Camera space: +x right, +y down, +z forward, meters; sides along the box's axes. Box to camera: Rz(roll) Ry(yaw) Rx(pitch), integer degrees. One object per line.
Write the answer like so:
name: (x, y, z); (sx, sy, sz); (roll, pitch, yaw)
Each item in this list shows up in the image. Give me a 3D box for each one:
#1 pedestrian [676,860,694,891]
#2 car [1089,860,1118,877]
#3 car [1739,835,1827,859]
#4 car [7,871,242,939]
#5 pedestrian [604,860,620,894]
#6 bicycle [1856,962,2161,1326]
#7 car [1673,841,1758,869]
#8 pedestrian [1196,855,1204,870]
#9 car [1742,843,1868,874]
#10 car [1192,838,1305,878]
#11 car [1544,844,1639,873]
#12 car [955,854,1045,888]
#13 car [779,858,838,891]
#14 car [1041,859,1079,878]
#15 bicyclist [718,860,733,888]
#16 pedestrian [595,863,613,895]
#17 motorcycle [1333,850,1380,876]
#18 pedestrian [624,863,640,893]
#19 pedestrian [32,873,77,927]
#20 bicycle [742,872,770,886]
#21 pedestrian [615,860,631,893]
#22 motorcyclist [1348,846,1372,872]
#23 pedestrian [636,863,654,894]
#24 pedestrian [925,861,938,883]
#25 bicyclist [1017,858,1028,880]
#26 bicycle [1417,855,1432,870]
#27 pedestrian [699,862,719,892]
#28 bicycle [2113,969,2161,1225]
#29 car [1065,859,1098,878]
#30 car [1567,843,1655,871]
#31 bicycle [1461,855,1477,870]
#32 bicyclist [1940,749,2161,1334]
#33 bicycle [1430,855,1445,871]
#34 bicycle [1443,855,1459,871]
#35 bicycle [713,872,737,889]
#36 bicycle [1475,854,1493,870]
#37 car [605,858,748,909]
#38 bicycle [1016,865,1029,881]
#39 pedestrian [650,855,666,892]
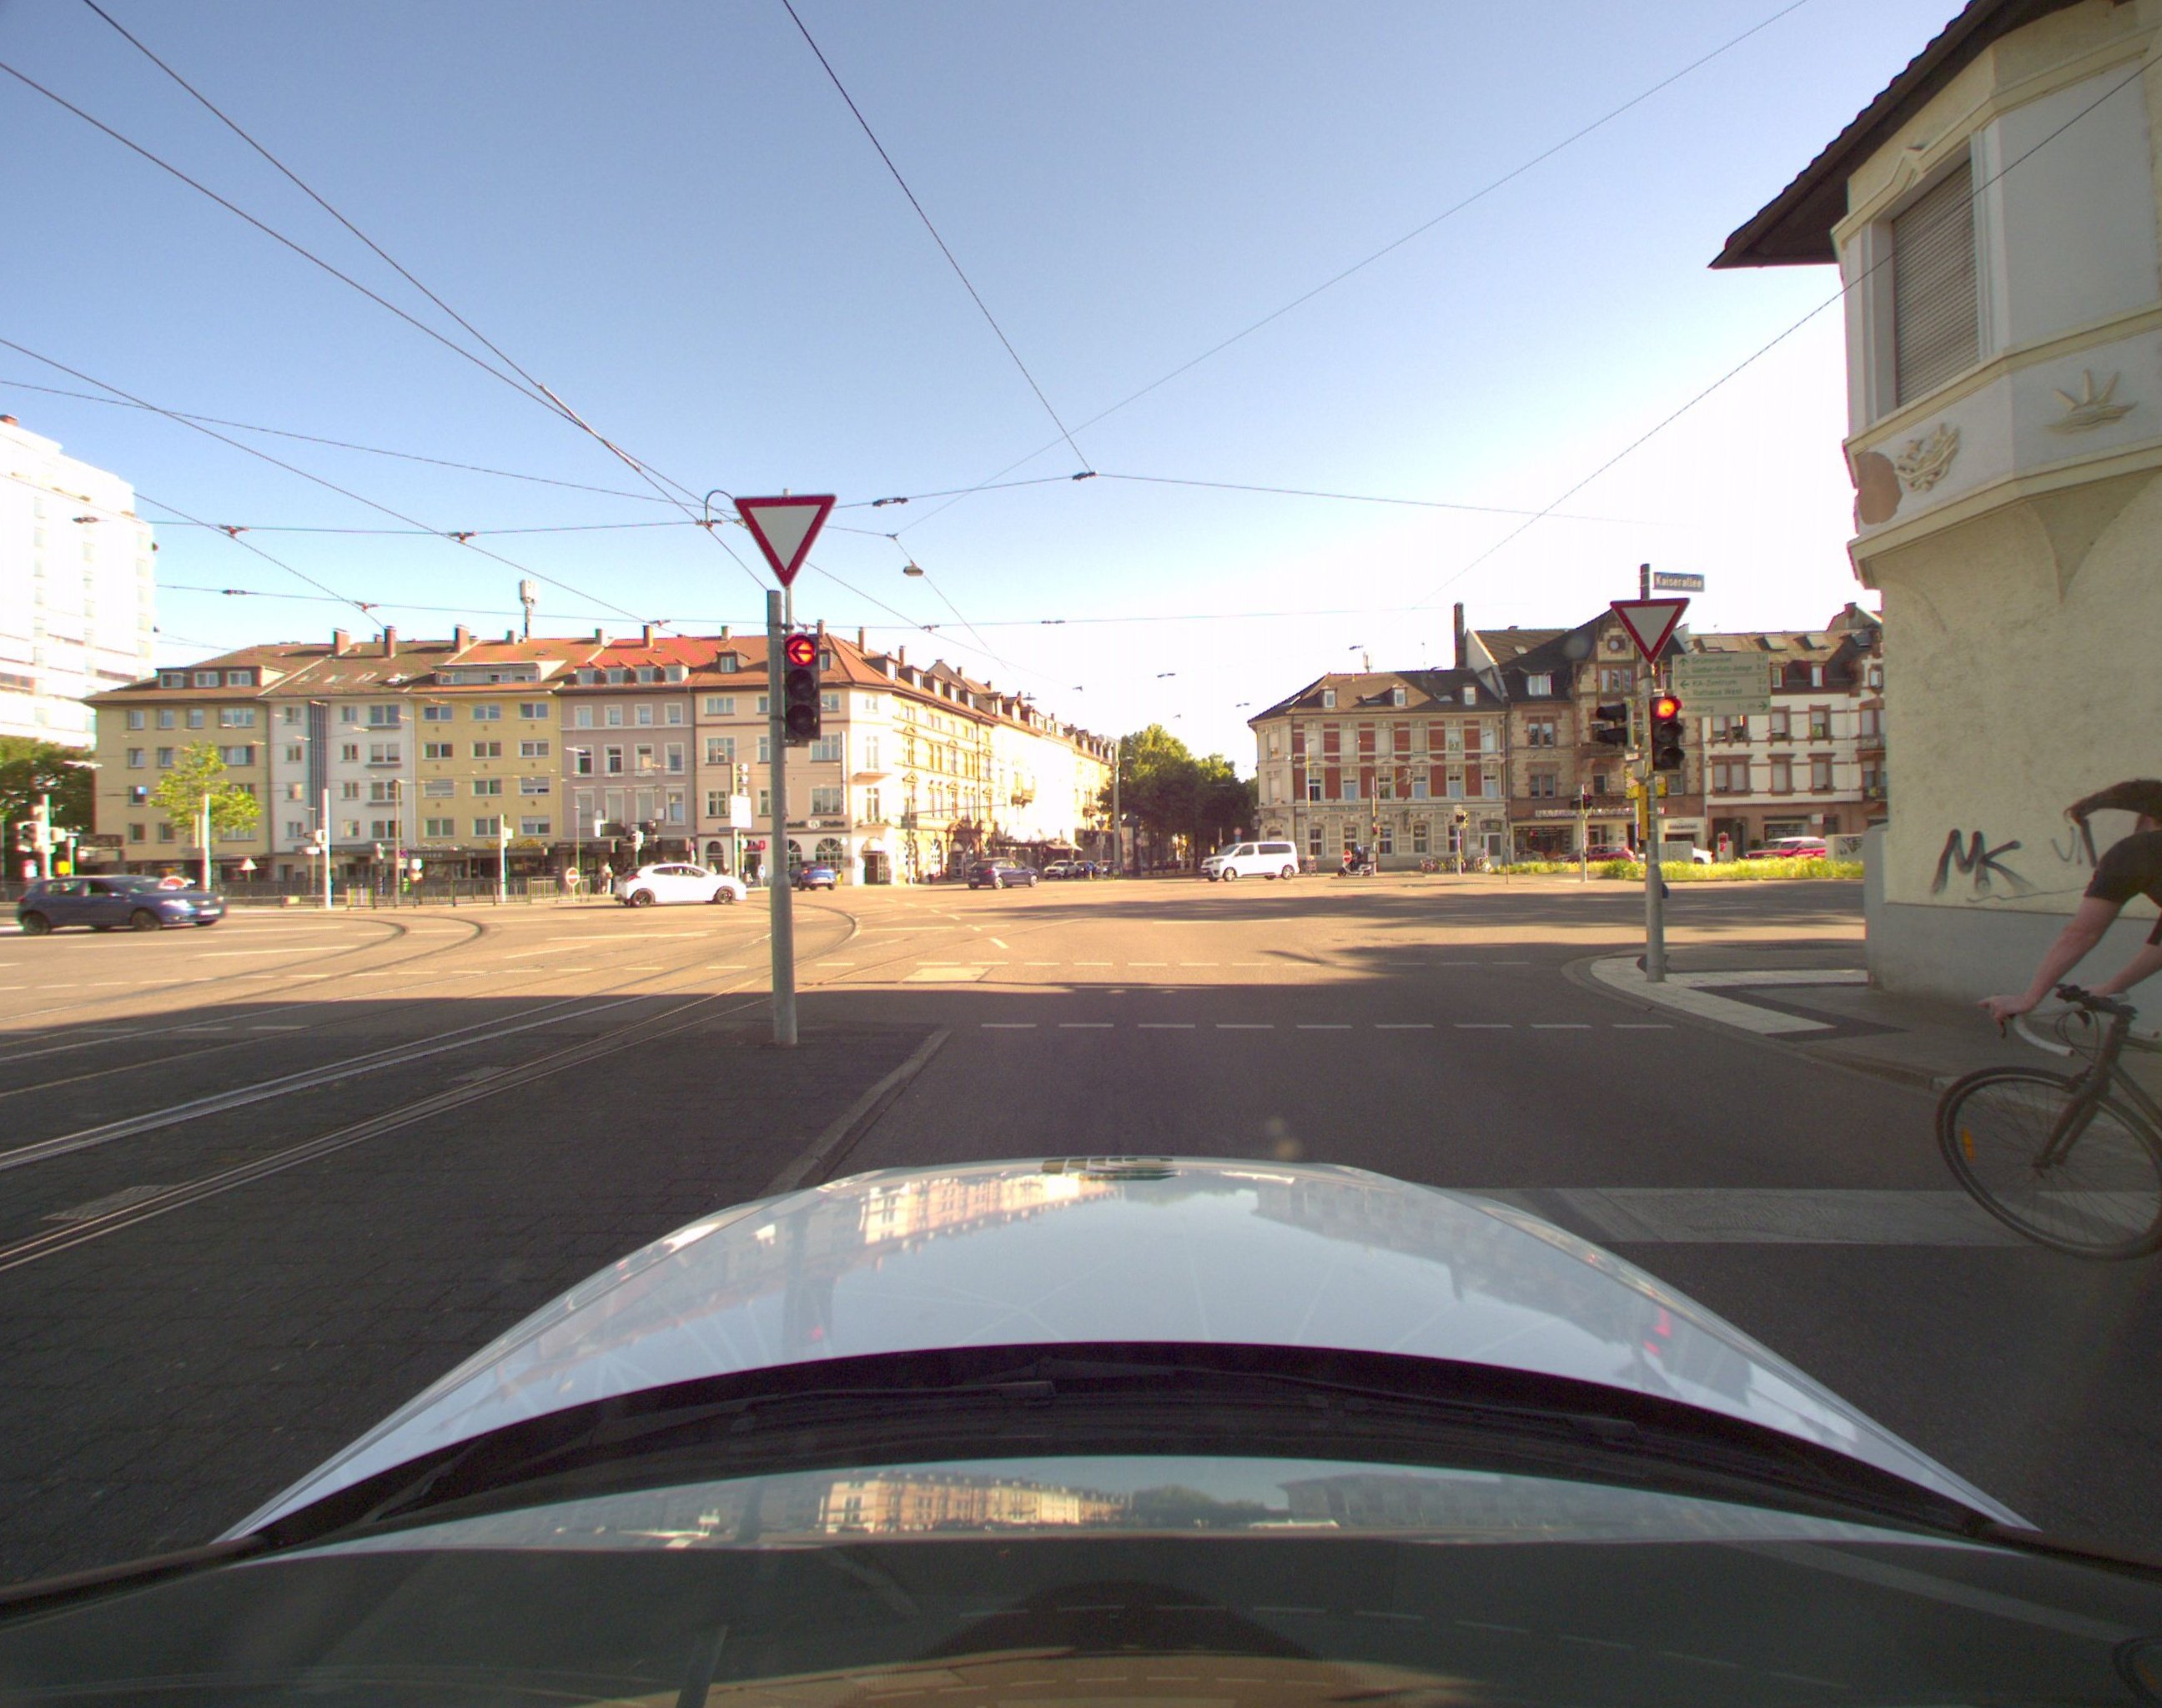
pedestrian: (-21.268, 1.135, 43.756); (0.580, 1.648, 0.840); (0, -1, 1)
car: (2.223, 1.437, 80.217); (1.788, 1.575, 3.908); (-1, -1, 17)
car: (45.227, -0.433, 52.555); (3.961, 1.438, 1.874); (0, -1, 5)
car: (-25.754, 1.330, 22.067); (3.902, 1.503, 1.786); (-3, 0, -6)
pedestrian: (-23.556, 1.151, 40.929); (0.520, 1.648, 0.498); (0, -1, 1)
bicycle: (3.564, 0.956, 2.618); (0.480, 0.991, 1.783); (0, -1, 2)
car: (37.267, 0.080, 47.893); (3.584, 1.618, 1.779); (0, -1, 0)
pedestrian: (15.741, 1.123, 107.398); (0.936, 2.014, 0.830); (-1, -1, 16)
car: (37.357, 0.209, 42.101); (4.839, 1.469, 1.805); (-1, 1, 2)
car: (8.340, 0.174, 40.533); (5.214, 1.854, 1.987); (-1, 0, -19)
car: (26.222, 0.220, 41.886); (3.854, 1.426, 1.596); (-1, 0, 2)
car: (-3.672, 0.761, 37.515); (1.808, 1.403, 4.025); (-1, 0, 39)
car: (-14.271, 1.042, 42.526); (1.839, 1.575, 4.154); (-1, 0, -35)
car: (-1.682, 1.184, 67.471); (1.788, 1.585, 4.179); (-1, -1, 19)
bicyclist: (-22.913, 1.300, 52.481); (0.618, 1.790, 0.616); (0, -1, 7)
pedestrian: (-24.914, 1.291, 42.519); (0.582, 1.648, 0.616); (0, -1, 1)
motorcycle: (14.111, 0.451, 41.730); (2.127, 1.333, 0.797); (0, -1, 2)
pedestrian: (-22.541, 1.202, 40.895); (0.489, 1.492, 0.556); (0, -1, 1)
pedestrian: (-31.731, 1.400, 25.185); (0.770, 1.609, 0.605); (0, -1, -44)
bicycle: (-22.989, 1.758, 57.596); (1.694, 0.983, 0.611); (0, -1, 1)
pedestrian: (-22.981, 1.147, 40.887); (0.520, 1.648, 0.498); (0, -1, 1)
motorcyclist: (14.290, 0.240, 41.730); (1.010, 1.300, 0.789); (0, -1, 2)
pedestrian: (-23.028, 1.286, 43.031); (0.571, 1.648, 0.727); (0, -1, 1)
pedestrian: (-11.295, 1.353, 61.438); (0.562, 1.642, 0.797); (-1, -1, 25)
bicyclist: (-4.719, 1.209, 65.555); (0.561, 1.804, 0.918); (-1, -1, 17)
bicycle: (22.504, 0.583, 53.351); (0.758, 0.963, 2.221); (-1, -1, 20)
pedestrian: (-19.777, 1.203, 43.336); (0.666, 1.594, 0.815); (0, -1, 1)
bicycle: (4.456, 0.954, 2.439); (0.501, 0.983, 1.783); (0, -1, 2)
car: (0.069, 1.296, 73.768); (1.809, 1.685, 3.893); (-1, -1, 18)
car: (31.170, 0.187, 47.976); (3.970, 1.622, 1.806); (0, -1, 3)
bicycle: (25.170, 0.548, 52.859); (0.758, 1.007, 2.231); (-1, -1, 20)
bicyclist: (3.560, 0.566, 2.622); (0.587, 1.767, 0.936); (0, -1, 2)
bicycle: (23.259, 0.576, 53.085); (0.758, 0.968, 2.221); (-1, -1, 20)
bicycle: (24.046, 0.569, 52.961); (0.758, 0.983, 2.221); (-1, -1, 20)
bicycle: (-22.912, 1.687, 52.492); (0.618, 1.030, 1.758); (0, -1, 7)
bicycle: (26.071, 0.539, 52.731); (0.785, 1.016, 2.221); (-1, -1, 20)
car: (-13.730, 0.952, 27.757); (4.028, 1.454, 1.876); (-2, 1, -39)
bicycle: (-4.710, 1.494, 65.544); (0.561, 1.254, 1.564); (-1, -1, 17)
pedestrian: (-21.482, 0.977, 41.356); (0.528, 1.823, 0.673); (0, -1, -13)
